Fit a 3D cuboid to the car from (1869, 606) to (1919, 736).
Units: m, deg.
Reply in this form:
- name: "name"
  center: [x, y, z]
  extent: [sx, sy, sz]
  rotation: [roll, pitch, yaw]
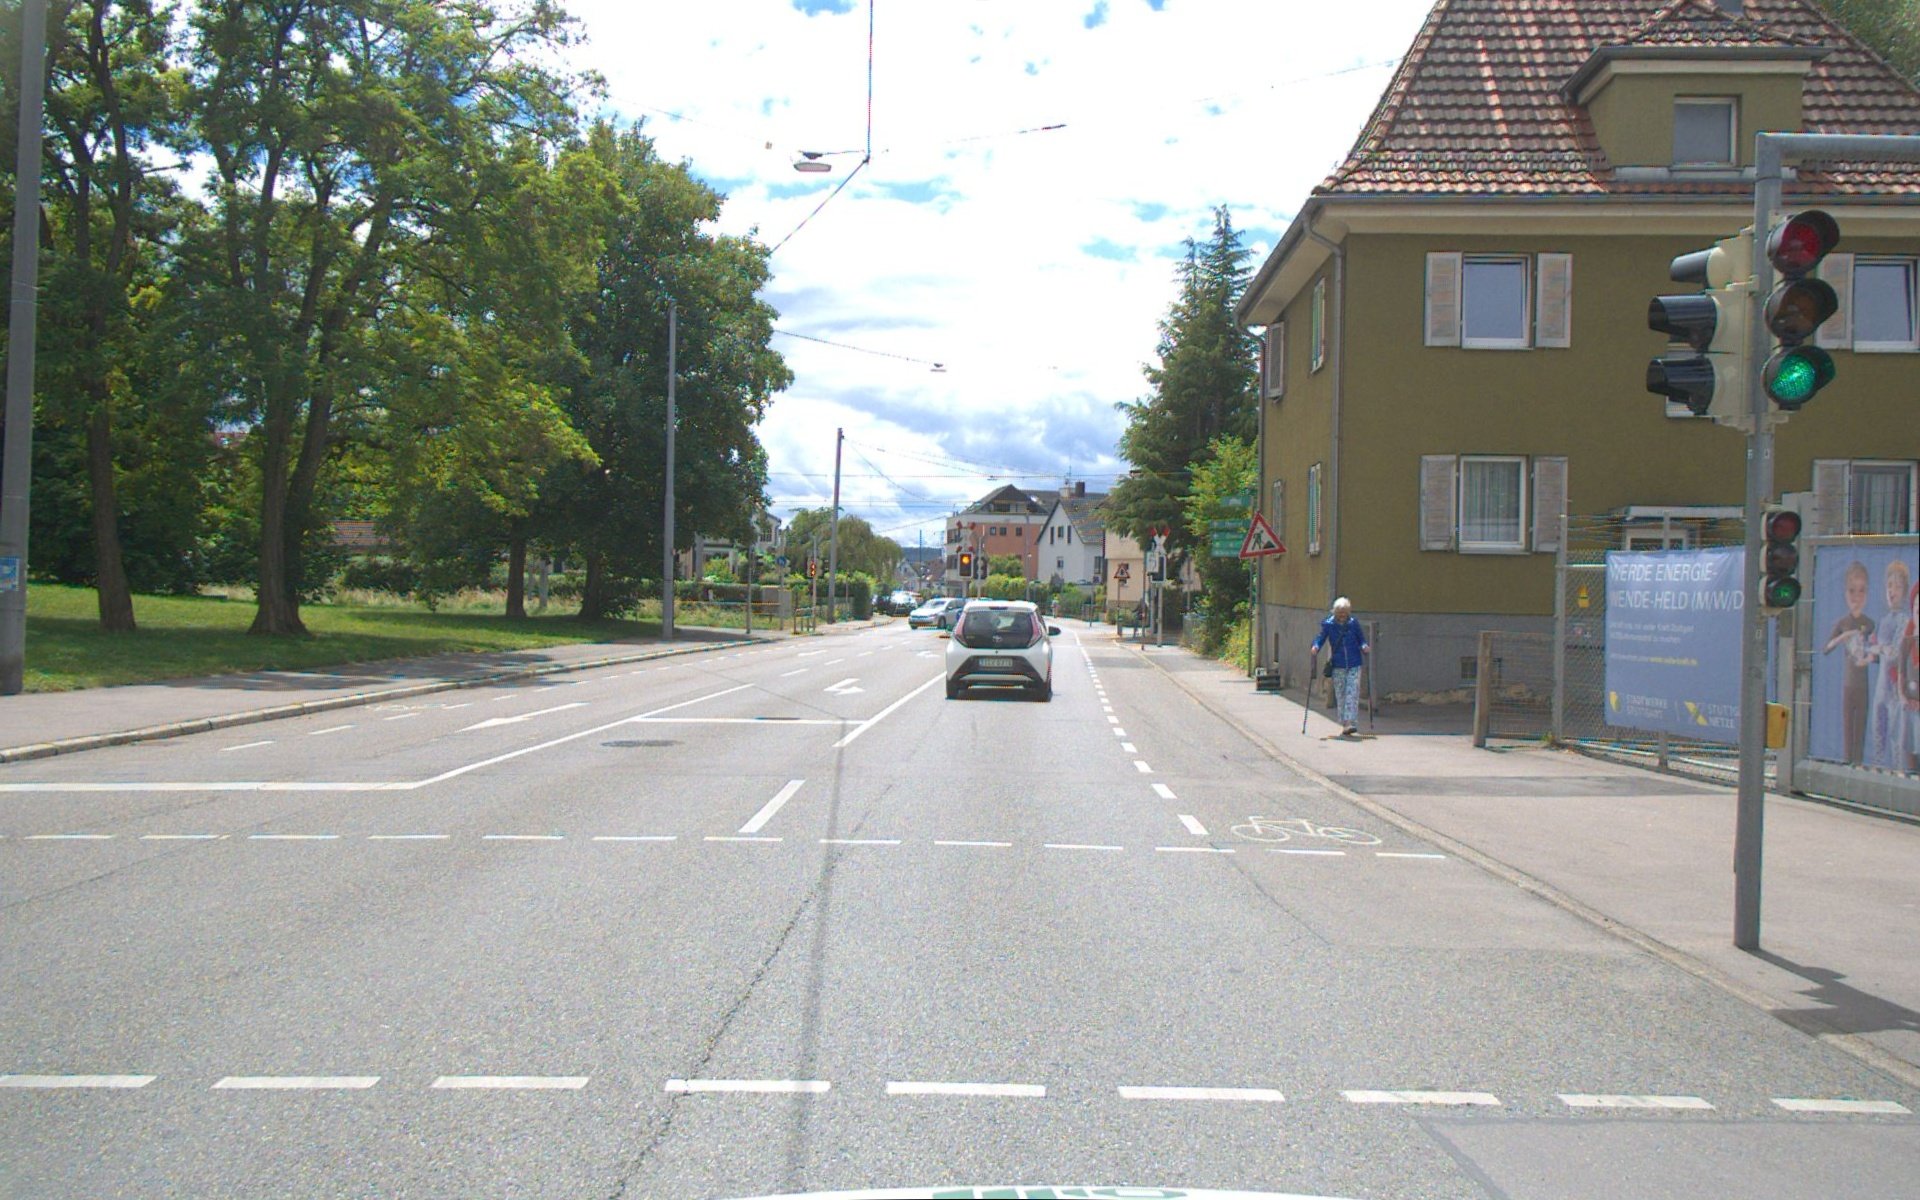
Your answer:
- name: "car"
  center: [13.171, 0.918, 19.987]
  extent: [3.434, 1.520, 1.658]
  rotation: [2, 1, -3]

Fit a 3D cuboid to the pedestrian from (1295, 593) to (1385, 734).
- name: "pedestrian"
  center: [4.422, 0.727, 19.313]
  extent: [0.807, 1.599, 0.987]
  rotation: [0, 0, -1]

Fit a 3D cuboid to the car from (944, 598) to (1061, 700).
- name: "car"
  center: [0.667, 0.735, 26.439]
  extent: [1.685, 1.467, 3.709]
  rotation: [2, 0, 1]

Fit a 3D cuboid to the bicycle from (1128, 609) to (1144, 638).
- name: "bicycle"
  center: [7.654, 1.012, 72.040]
  extent: [0.448, 1.192, 1.479]
  rotation: [-2, 2, -2]

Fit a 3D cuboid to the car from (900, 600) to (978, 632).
- name: "car"
  center: [-0.990, 0.780, 80.784]
  extent: [1.870, 1.466, 4.088]
  rotation: [2, 0, 31]

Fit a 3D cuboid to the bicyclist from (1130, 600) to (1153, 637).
- name: "bicyclist"
  center: [7.901, 0.803, 72.047]
  extent: [0.824, 1.580, 0.756]
  rotation: [-2, 2, -2]

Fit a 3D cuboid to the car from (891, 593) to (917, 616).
- name: "car"
  center: [-4.480, 0.362, 131.917]
  extent: [1.954, 1.749, 3.998]
  rotation: [2, 0, -3]
